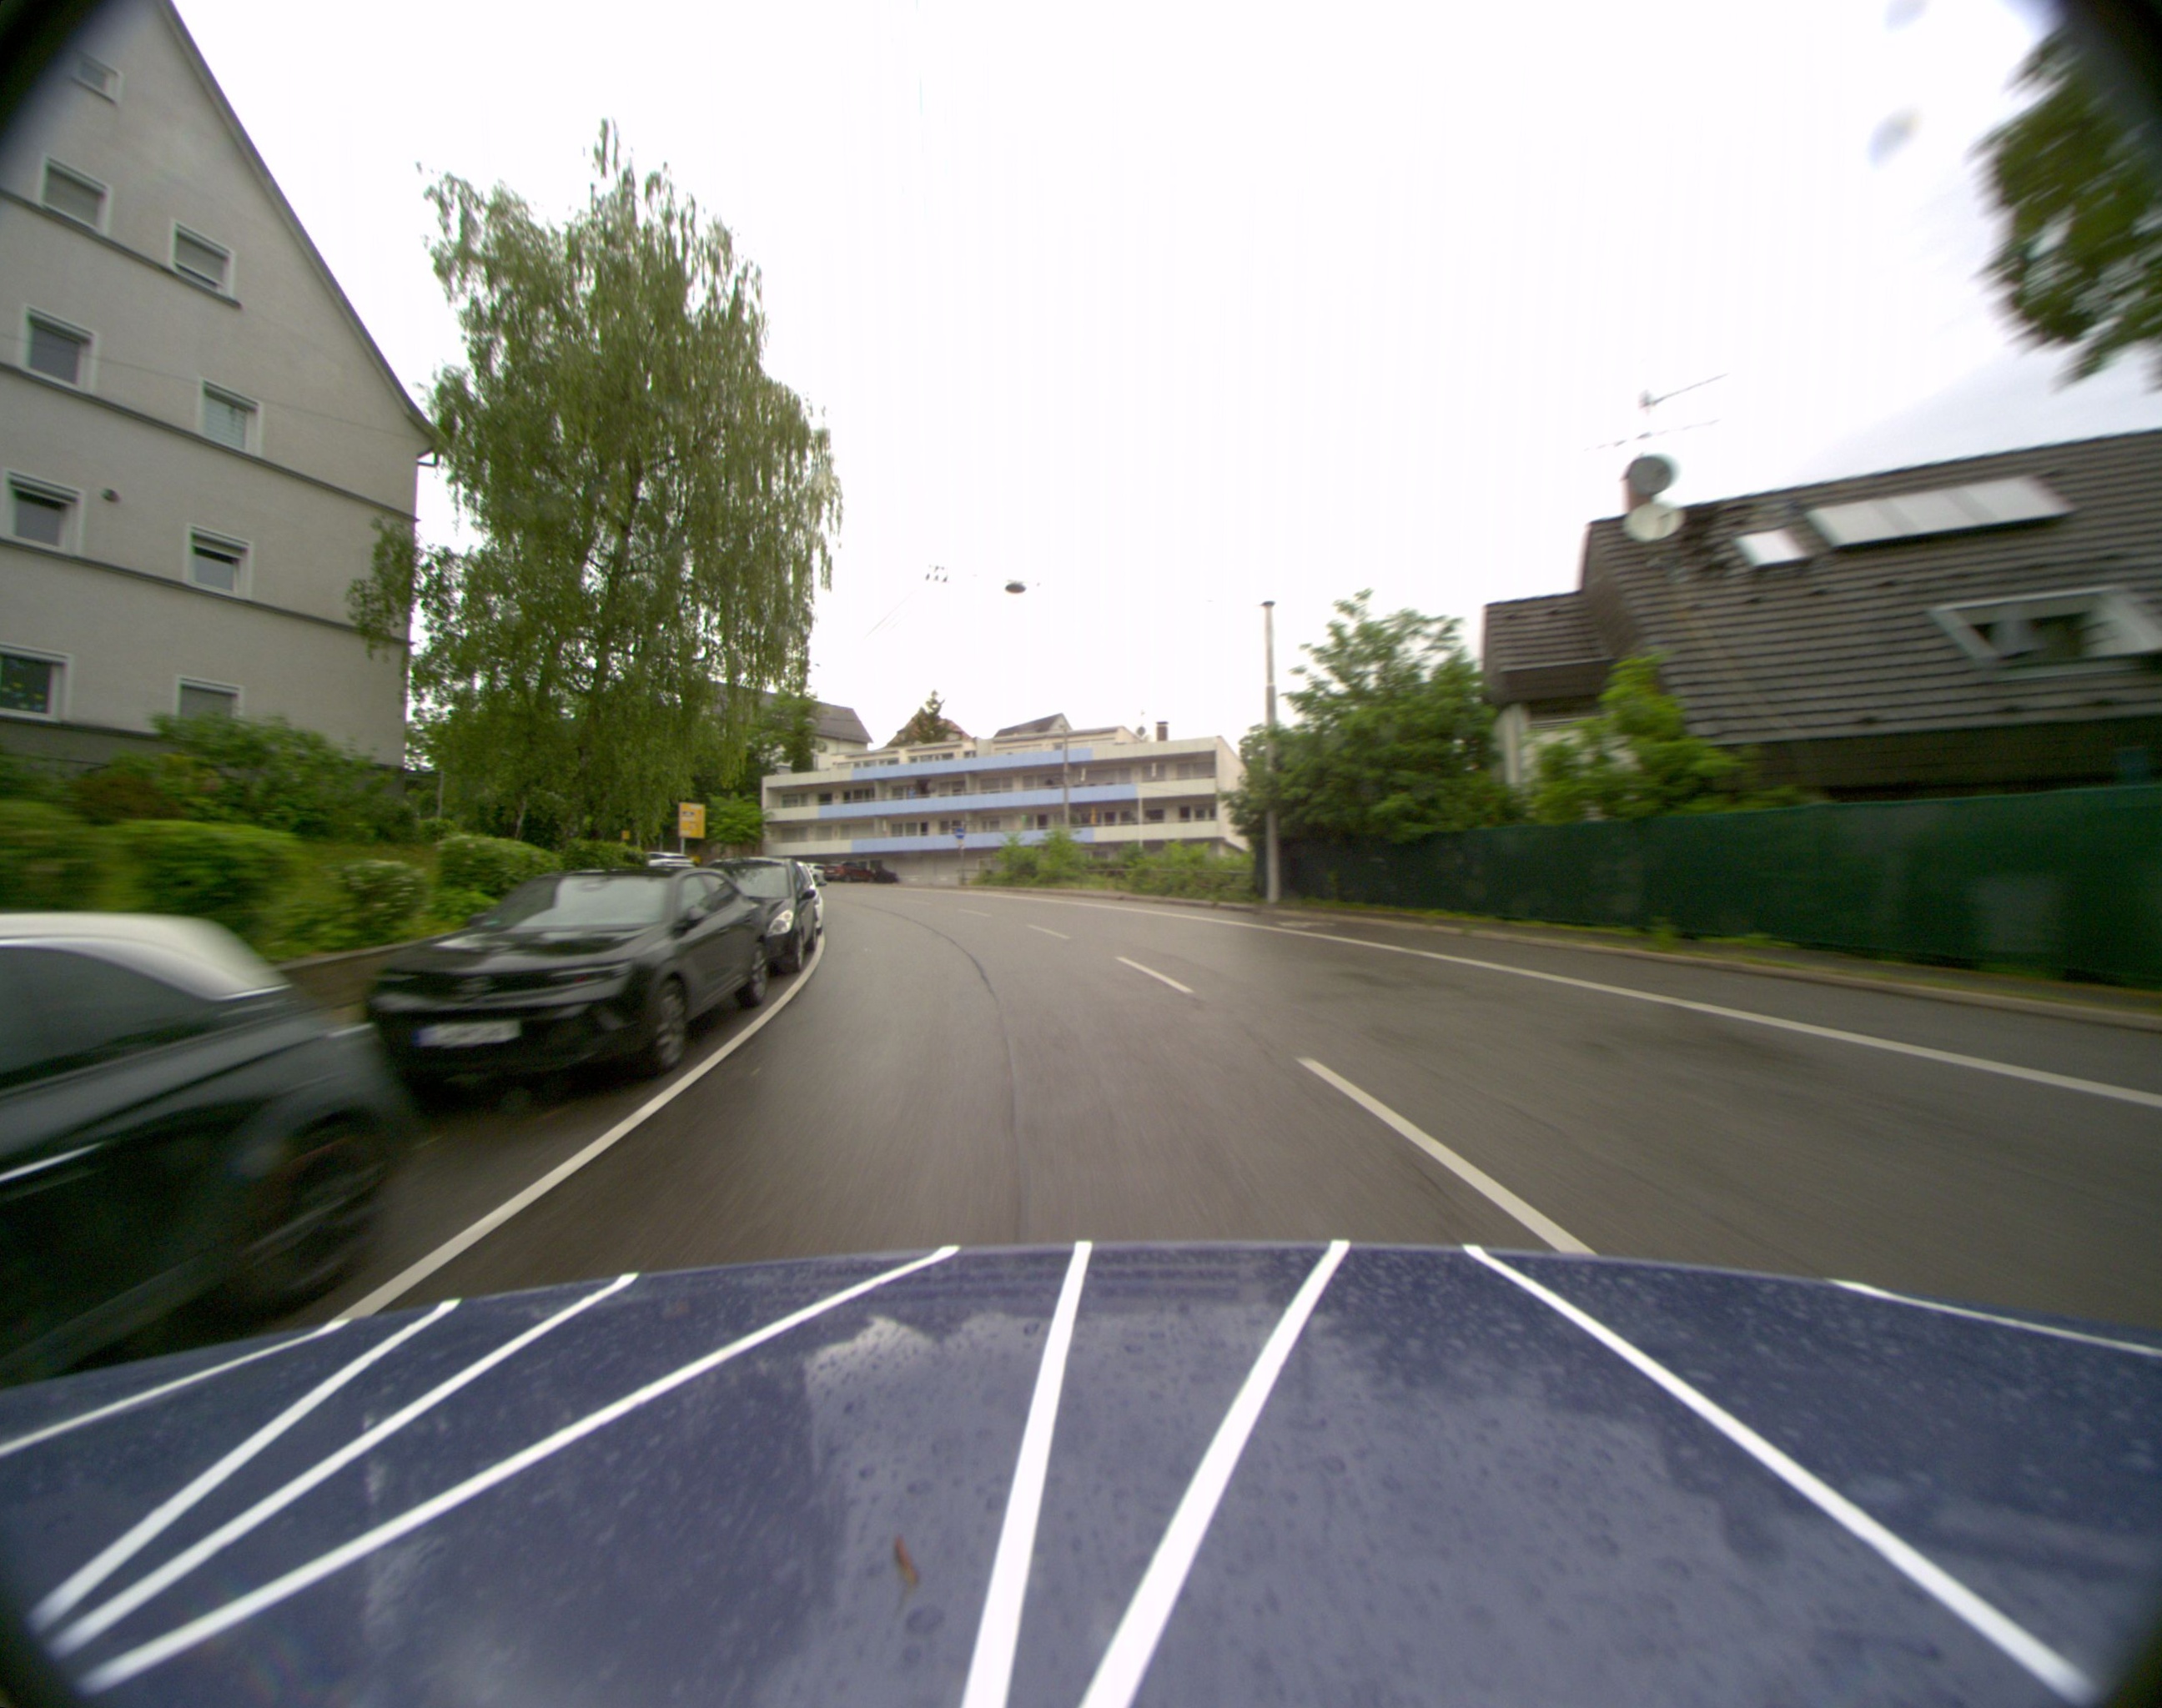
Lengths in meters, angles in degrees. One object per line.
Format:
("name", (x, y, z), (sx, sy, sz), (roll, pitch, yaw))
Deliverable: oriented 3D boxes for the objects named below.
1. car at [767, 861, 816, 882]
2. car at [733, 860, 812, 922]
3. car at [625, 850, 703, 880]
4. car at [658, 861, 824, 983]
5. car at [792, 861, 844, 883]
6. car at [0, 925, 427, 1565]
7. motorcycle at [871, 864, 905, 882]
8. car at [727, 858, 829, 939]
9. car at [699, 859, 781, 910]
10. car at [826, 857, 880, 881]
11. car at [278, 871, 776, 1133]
("car", (-21.721, 1.316, 57.128), (1.634, 1.381, 3.448), (2, -3, 17))
("car", (-8.627, 0.918, 21.044), (1.632, 1.510, 4.317), (0, 0, -27))
("car", (-24.502, 0.650, 44.625), (4.274, 1.597, 1.836), (1, -2, 28))
("car", (-4.891, 0.895, 11.403), (1.626, 1.496, 3.600), (2, -1, -14))
("car", (-19.389, 1.338, 56.136), (1.704, 1.435, 3.449), (1, -4, 21))
("car", (-3.519, 1.037, 1.294), (1.687, 1.463, 3.738), (2, -1, -4))
("motorcycle", (-14.626, 1.427, 57.551), (2.333, 1.302, 0.574), (3, 0, 5))
("car", (-6.410, 0.867, 16.190), (1.734, 1.455, 4.023), (2, -1, -21))
("car", (-11.331, 0.938, 25.124), (1.799, 1.438, 4.094), (-1, 1, -34))
("car", (-16.260, 1.072, 54.418), (1.712, 1.540, 3.943), (1, -3, 19))
("car", (-4.034, 0.929, 6.495), (1.721, 1.427, 4.066), (2, -1, -9))
